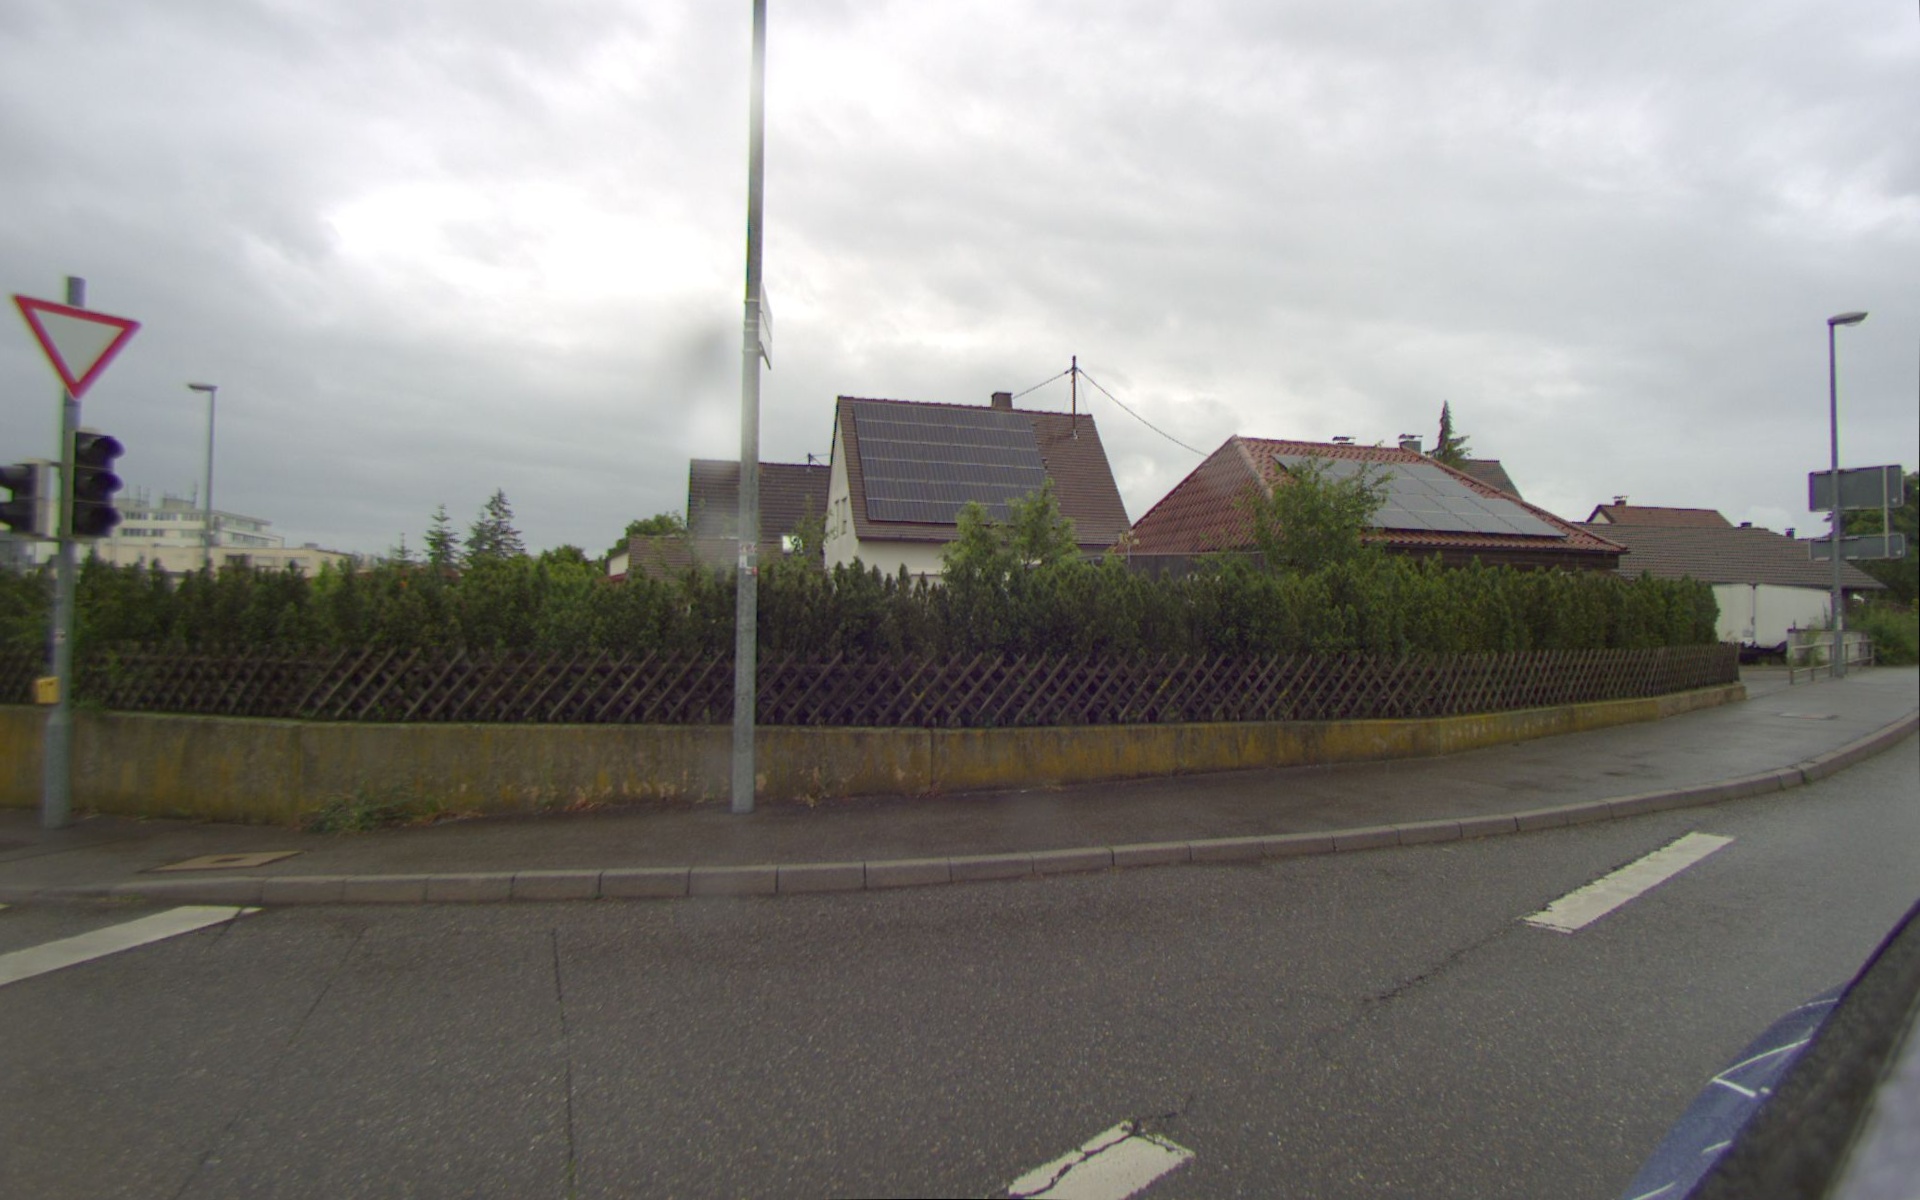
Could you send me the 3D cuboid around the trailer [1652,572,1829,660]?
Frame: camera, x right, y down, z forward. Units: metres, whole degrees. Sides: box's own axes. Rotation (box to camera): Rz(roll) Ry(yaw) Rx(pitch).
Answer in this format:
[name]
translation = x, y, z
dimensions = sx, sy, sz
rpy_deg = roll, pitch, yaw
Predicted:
[trailer]
translation = 23.669, 0.493, 30.727
dimensions = 4.605, 2.550, 1.652
rpy_deg = 0, -2, -13
